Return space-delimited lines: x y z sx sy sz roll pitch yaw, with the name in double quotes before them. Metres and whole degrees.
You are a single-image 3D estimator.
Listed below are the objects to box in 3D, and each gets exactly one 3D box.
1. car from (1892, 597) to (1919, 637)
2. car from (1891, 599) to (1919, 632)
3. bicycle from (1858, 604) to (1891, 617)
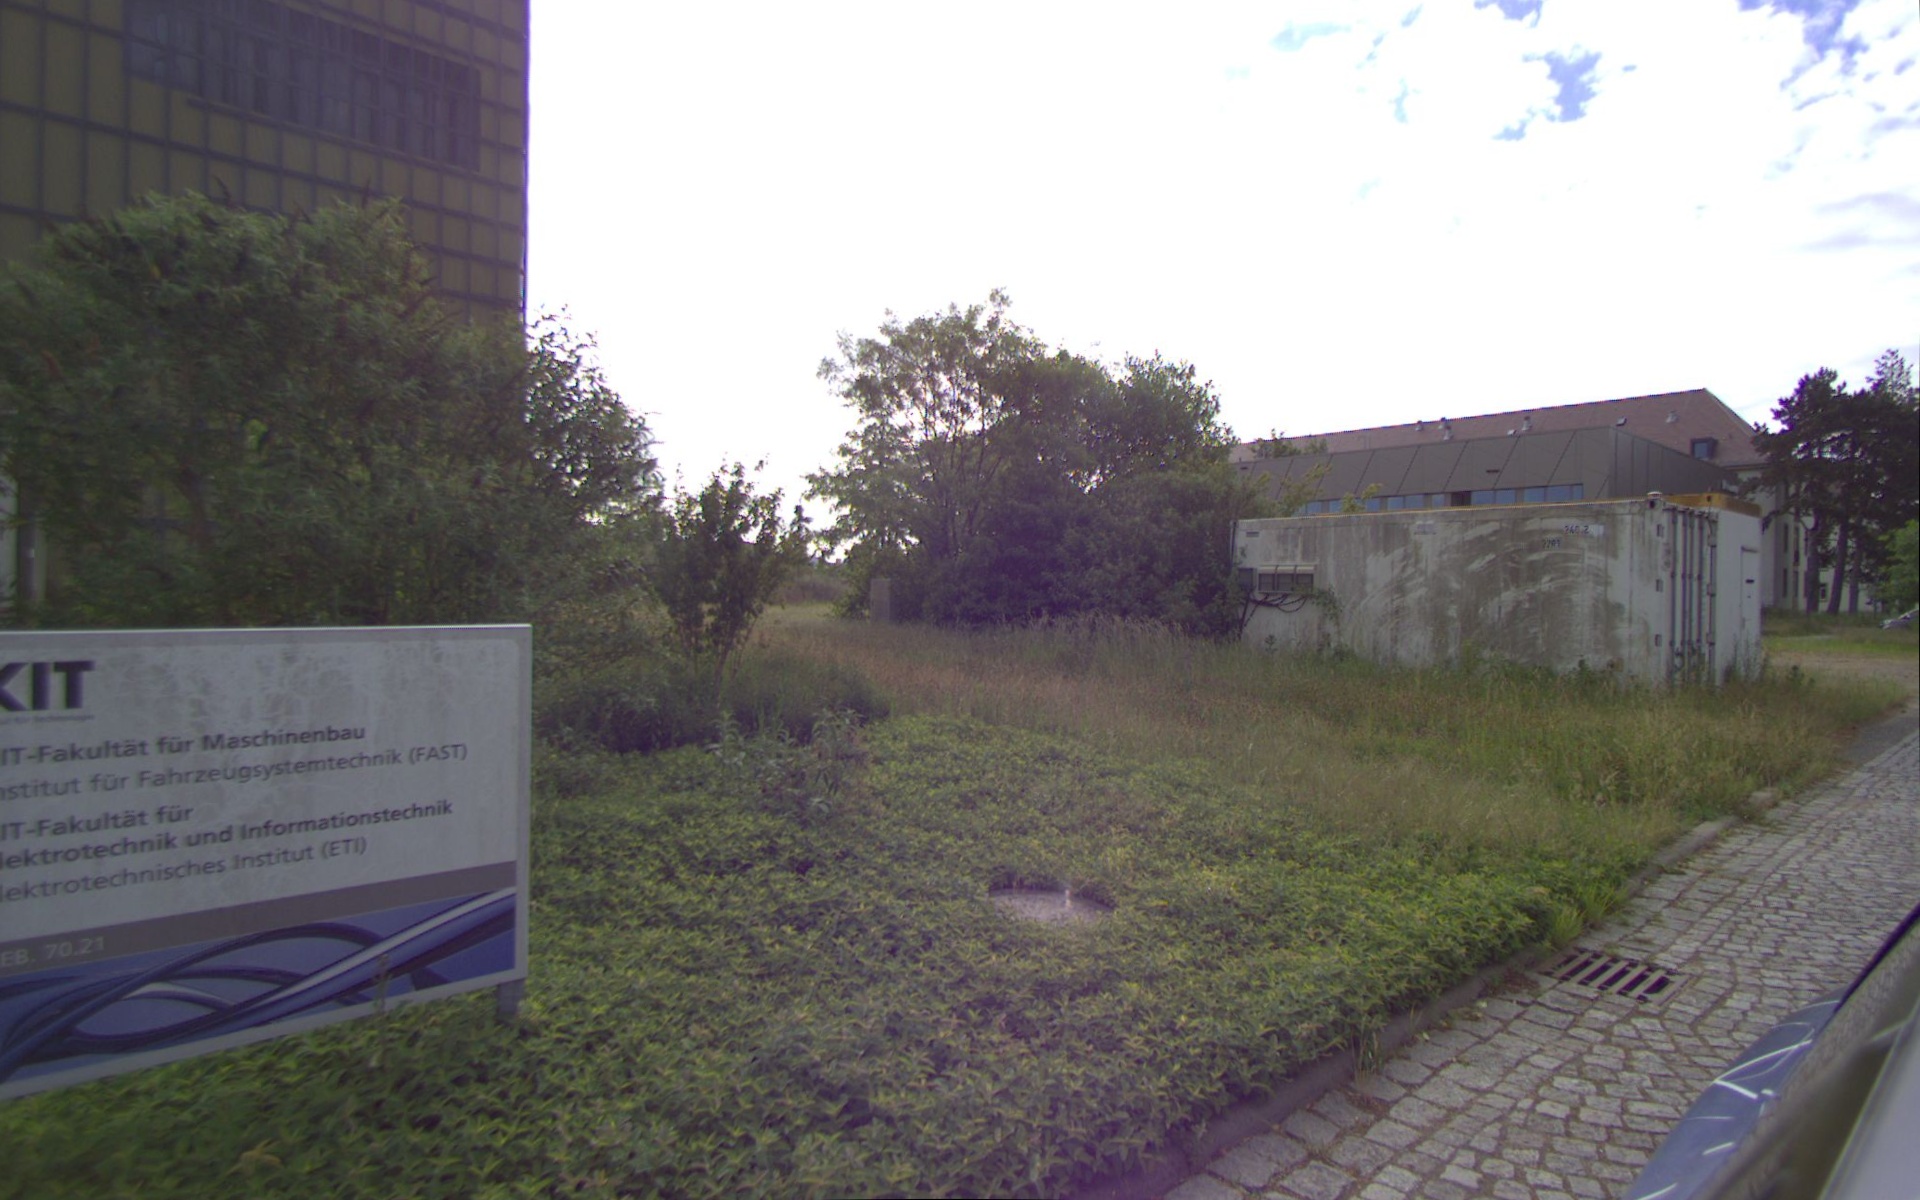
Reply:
"car" 40.897 0.769 42.195 1.653 1.601 2.748 1 3 -40
"car" 46.313 0.814 46.878 1.899 1.467 4.533 1 3 -42
"bicycle" 83.101 0.953 91.981 0.705 1.109 2.161 1 1 -43
